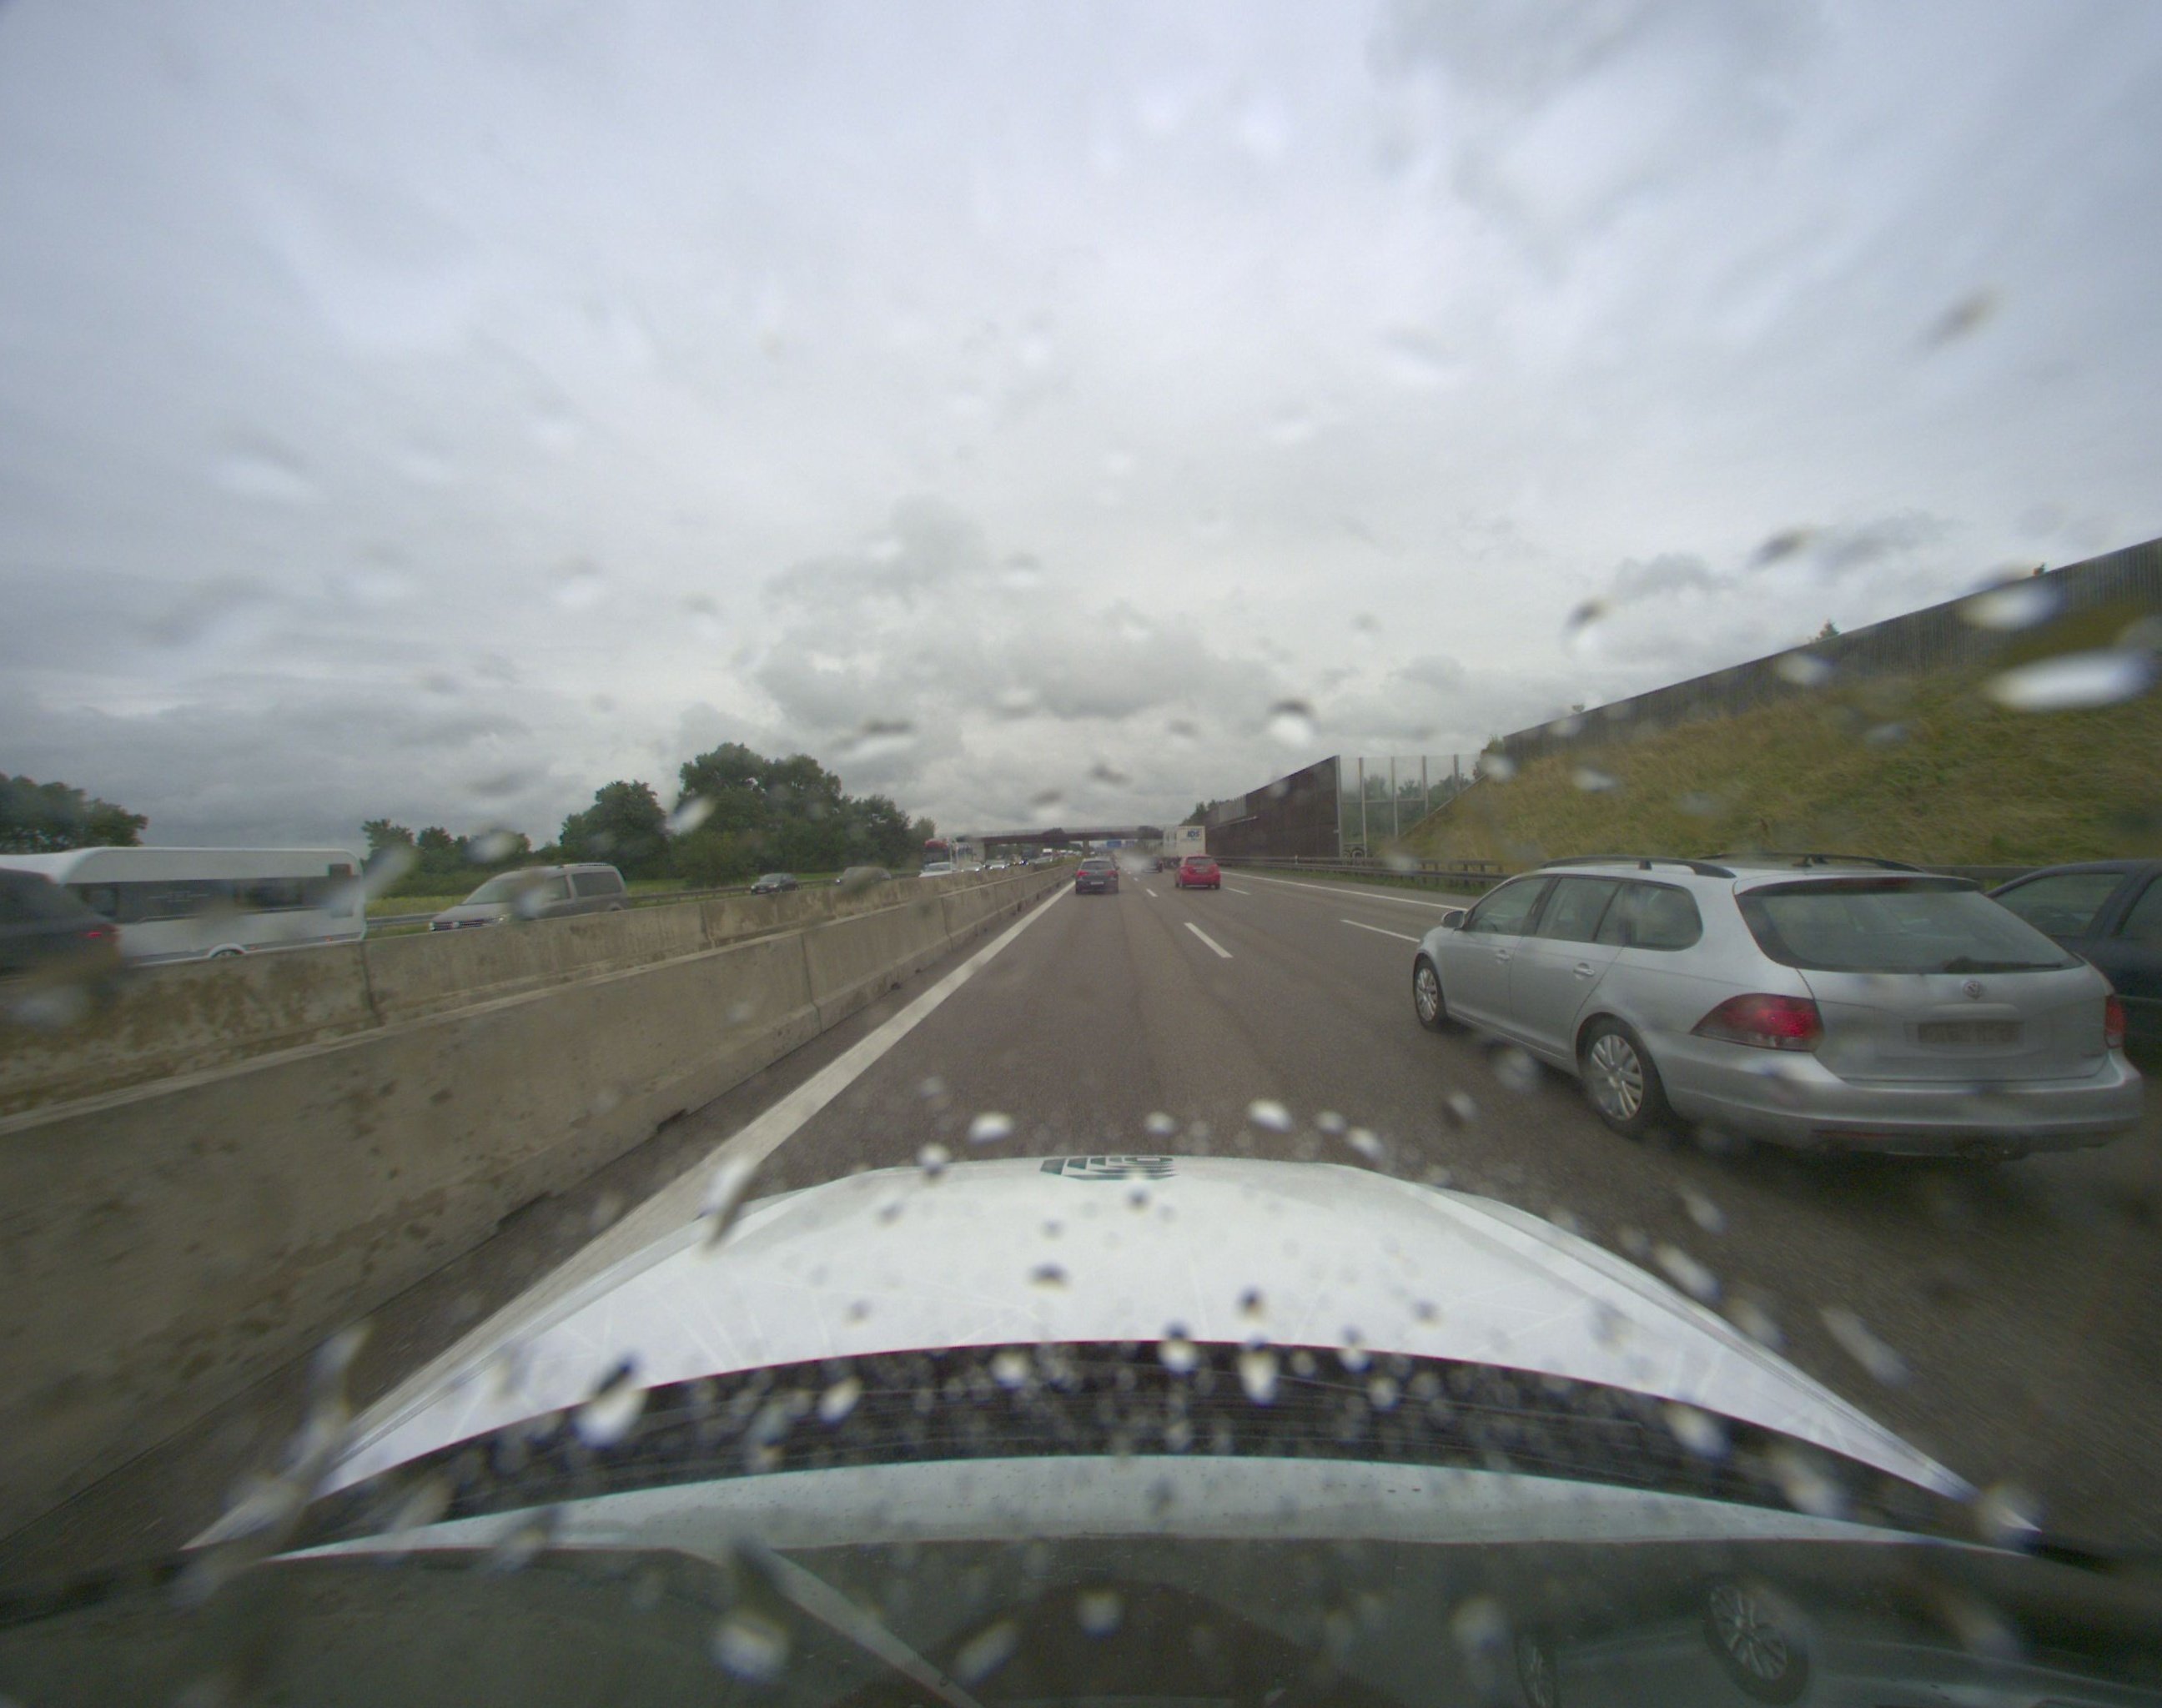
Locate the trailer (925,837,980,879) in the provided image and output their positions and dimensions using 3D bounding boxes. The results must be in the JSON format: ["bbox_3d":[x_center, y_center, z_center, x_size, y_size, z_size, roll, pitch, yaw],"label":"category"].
[{"bbox_3d":[-14.099,0.469,90.844,2.987,4.242,15.715,0,-1,2],"label":"trailer"}]

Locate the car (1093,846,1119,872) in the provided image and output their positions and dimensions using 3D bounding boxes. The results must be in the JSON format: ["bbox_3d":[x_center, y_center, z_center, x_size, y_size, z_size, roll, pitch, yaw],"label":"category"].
[{"bbox_3d":[1.863,0.386,61.486,1.819,1.850,4.002,-2,0,2],"label":"car"}]

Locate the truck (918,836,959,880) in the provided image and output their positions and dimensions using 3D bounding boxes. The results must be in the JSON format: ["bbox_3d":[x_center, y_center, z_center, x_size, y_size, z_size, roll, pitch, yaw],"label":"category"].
[{"bbox_3d":[-14.394,0.442,82.621,2.946,4.242,6.236,0,-1,1],"label":"truck"}]

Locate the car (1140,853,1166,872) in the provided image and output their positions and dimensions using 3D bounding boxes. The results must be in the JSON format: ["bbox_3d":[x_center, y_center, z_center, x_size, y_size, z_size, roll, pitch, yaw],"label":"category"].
[{"bbox_3d":[6.112,0.717,69.158,1.914,1.522,4.624,-1,0,2],"label":"car"}]

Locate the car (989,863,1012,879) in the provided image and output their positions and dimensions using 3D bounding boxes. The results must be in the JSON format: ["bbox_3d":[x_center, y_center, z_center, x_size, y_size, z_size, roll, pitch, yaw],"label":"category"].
[{"bbox_3d":[-9.537,2.005,96.807,1.986,1.879,5.034,0,-1,2],"label":"car"}]

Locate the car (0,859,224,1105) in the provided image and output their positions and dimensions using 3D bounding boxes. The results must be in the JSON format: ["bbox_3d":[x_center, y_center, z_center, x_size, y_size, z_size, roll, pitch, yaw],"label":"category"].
[{"bbox_3d":[-8.842,0.970,4.831,1.986,1.764,5.073,-2,0,2],"label":"car"}]

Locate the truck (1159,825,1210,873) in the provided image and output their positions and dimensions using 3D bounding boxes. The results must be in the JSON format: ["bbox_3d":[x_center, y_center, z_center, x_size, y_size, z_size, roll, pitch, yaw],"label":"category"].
[{"bbox_3d":[10.199,-0.332,82.644,3.271,4.295,19.038,0,-1,2],"label":"truck"}]

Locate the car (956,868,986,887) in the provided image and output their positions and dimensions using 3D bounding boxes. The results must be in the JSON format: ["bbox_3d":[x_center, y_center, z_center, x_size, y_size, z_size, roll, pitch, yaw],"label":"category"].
[{"bbox_3d":[-10.749,2.296,79.843,2.086,1.710,5.166,-1,0,1],"label":"car"}]

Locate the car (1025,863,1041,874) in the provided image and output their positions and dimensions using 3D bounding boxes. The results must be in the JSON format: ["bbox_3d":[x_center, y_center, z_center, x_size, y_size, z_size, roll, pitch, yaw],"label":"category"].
[{"bbox_3d":[-8.026,2.492,136.746,2.085,1.710,4.803,-1,0,3],"label":"car"}]

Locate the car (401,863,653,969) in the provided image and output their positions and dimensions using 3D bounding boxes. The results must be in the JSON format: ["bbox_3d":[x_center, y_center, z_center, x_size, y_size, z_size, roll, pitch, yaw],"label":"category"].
[{"bbox_3d":[-12.092,1.220,18.362,1.876,1.924,5.280,-2,0,2],"label":"car"}]

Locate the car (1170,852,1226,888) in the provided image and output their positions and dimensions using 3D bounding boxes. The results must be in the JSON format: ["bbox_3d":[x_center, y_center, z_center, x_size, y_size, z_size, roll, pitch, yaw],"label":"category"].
[{"bbox_3d":[5.166,0.669,36.503,1.884,1.446,4.685,-1,0,1],"label":"car"}]

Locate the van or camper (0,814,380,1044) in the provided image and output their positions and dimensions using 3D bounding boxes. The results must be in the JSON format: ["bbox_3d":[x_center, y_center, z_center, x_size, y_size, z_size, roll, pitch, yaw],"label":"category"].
[{"bbox_3d":[-17.798,1.177,15.227,2.700,3.503,7.698,0,-1,0],"label":"van or camper"}]

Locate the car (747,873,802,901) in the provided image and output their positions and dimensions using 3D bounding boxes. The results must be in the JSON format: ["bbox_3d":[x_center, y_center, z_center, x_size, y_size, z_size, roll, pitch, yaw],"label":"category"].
[{"bbox_3d":[-18.803,1.990,50.140,1.878,1.595,3.999,0,-1,0],"label":"car"}]

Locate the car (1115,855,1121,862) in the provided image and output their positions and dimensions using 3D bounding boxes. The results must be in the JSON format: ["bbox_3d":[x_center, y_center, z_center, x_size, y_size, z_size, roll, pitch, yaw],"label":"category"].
[{"bbox_3d":[11.134,1.361,245.169,1.986,2.014,4.243,0,-1,2],"label":"car"}]

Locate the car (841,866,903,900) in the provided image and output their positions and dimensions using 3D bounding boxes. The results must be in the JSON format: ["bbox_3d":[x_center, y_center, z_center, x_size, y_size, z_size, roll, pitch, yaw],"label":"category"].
[{"bbox_3d":[-11.601,1.569,45.497,2.054,1.710,4.801,-1,0,1],"label":"car"}]

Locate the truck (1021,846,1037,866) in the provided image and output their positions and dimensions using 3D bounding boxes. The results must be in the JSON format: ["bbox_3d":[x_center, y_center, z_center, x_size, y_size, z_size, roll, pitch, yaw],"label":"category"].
[{"bbox_3d":[-10.784,0.427,168.956,2.747,4.050,6.258,0,-1,2],"label":"truck"}]

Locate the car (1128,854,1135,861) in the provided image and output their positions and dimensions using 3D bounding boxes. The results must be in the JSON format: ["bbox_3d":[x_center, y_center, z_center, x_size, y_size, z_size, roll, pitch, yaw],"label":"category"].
[{"bbox_3d":[13.928,0.925,224.599,1.986,1.812,4.229,-3,0,2],"label":"car"}]

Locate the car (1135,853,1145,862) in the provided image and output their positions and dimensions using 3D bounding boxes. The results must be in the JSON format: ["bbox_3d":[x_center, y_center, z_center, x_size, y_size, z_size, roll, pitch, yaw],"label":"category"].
[{"bbox_3d":[12.261,0.732,168.490,1.839,1.687,4.000,0,-1,1],"label":"car"}]

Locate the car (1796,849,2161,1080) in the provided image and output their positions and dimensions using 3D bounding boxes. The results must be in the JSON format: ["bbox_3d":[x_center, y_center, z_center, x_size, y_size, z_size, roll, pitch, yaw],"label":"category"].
[{"bbox_3d":[7.412,0.672,5.575,1.696,1.401,3.876,0,-1,1],"label":"car"}]

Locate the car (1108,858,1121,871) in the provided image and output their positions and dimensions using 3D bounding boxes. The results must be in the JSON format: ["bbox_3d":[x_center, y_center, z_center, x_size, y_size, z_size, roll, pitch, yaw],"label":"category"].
[{"bbox_3d":[4.929,1.496,120.750,1.699,1.796,3.854,-3,0,0],"label":"car"}]

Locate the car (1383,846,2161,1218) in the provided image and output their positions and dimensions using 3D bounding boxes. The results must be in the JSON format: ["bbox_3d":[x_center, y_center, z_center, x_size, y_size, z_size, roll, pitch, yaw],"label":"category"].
[{"bbox_3d":[3.699,0.713,5.489,1.735,1.425,4.518,-2,0,2],"label":"car"}]

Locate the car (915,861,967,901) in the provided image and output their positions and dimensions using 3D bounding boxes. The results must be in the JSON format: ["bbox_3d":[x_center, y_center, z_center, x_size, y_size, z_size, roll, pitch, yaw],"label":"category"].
[{"bbox_3d":[-7.454,1.380,43.645,1.876,1.924,4.175,-2,0,1],"label":"car"}]

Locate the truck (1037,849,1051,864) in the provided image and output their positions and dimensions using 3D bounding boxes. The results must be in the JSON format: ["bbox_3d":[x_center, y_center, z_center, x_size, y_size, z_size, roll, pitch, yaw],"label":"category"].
[{"bbox_3d":[-10.172,0.692,224.804,3.260,4.045,5.295,0,-1,2],"label":"truck"}]

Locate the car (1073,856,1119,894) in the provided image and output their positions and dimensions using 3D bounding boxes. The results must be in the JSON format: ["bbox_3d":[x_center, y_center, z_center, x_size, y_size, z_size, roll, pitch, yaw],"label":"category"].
[{"bbox_3d":[0.622,0.830,33.552,1.762,1.467,4.001,0,-1,1],"label":"car"}]

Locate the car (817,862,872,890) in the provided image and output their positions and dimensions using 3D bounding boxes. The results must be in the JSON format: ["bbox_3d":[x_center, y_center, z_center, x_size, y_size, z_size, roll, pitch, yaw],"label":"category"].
[{"bbox_3d":[-16.108,1.484,55.672,2.085,1.710,4.803,-1,0,3],"label":"car"}]

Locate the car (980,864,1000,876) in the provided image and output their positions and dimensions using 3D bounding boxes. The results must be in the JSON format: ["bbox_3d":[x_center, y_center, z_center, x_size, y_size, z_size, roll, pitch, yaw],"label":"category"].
[{"bbox_3d":[-13.193,2.323,118.687,2.085,1.710,4.965,-1,0,3],"label":"car"}]
